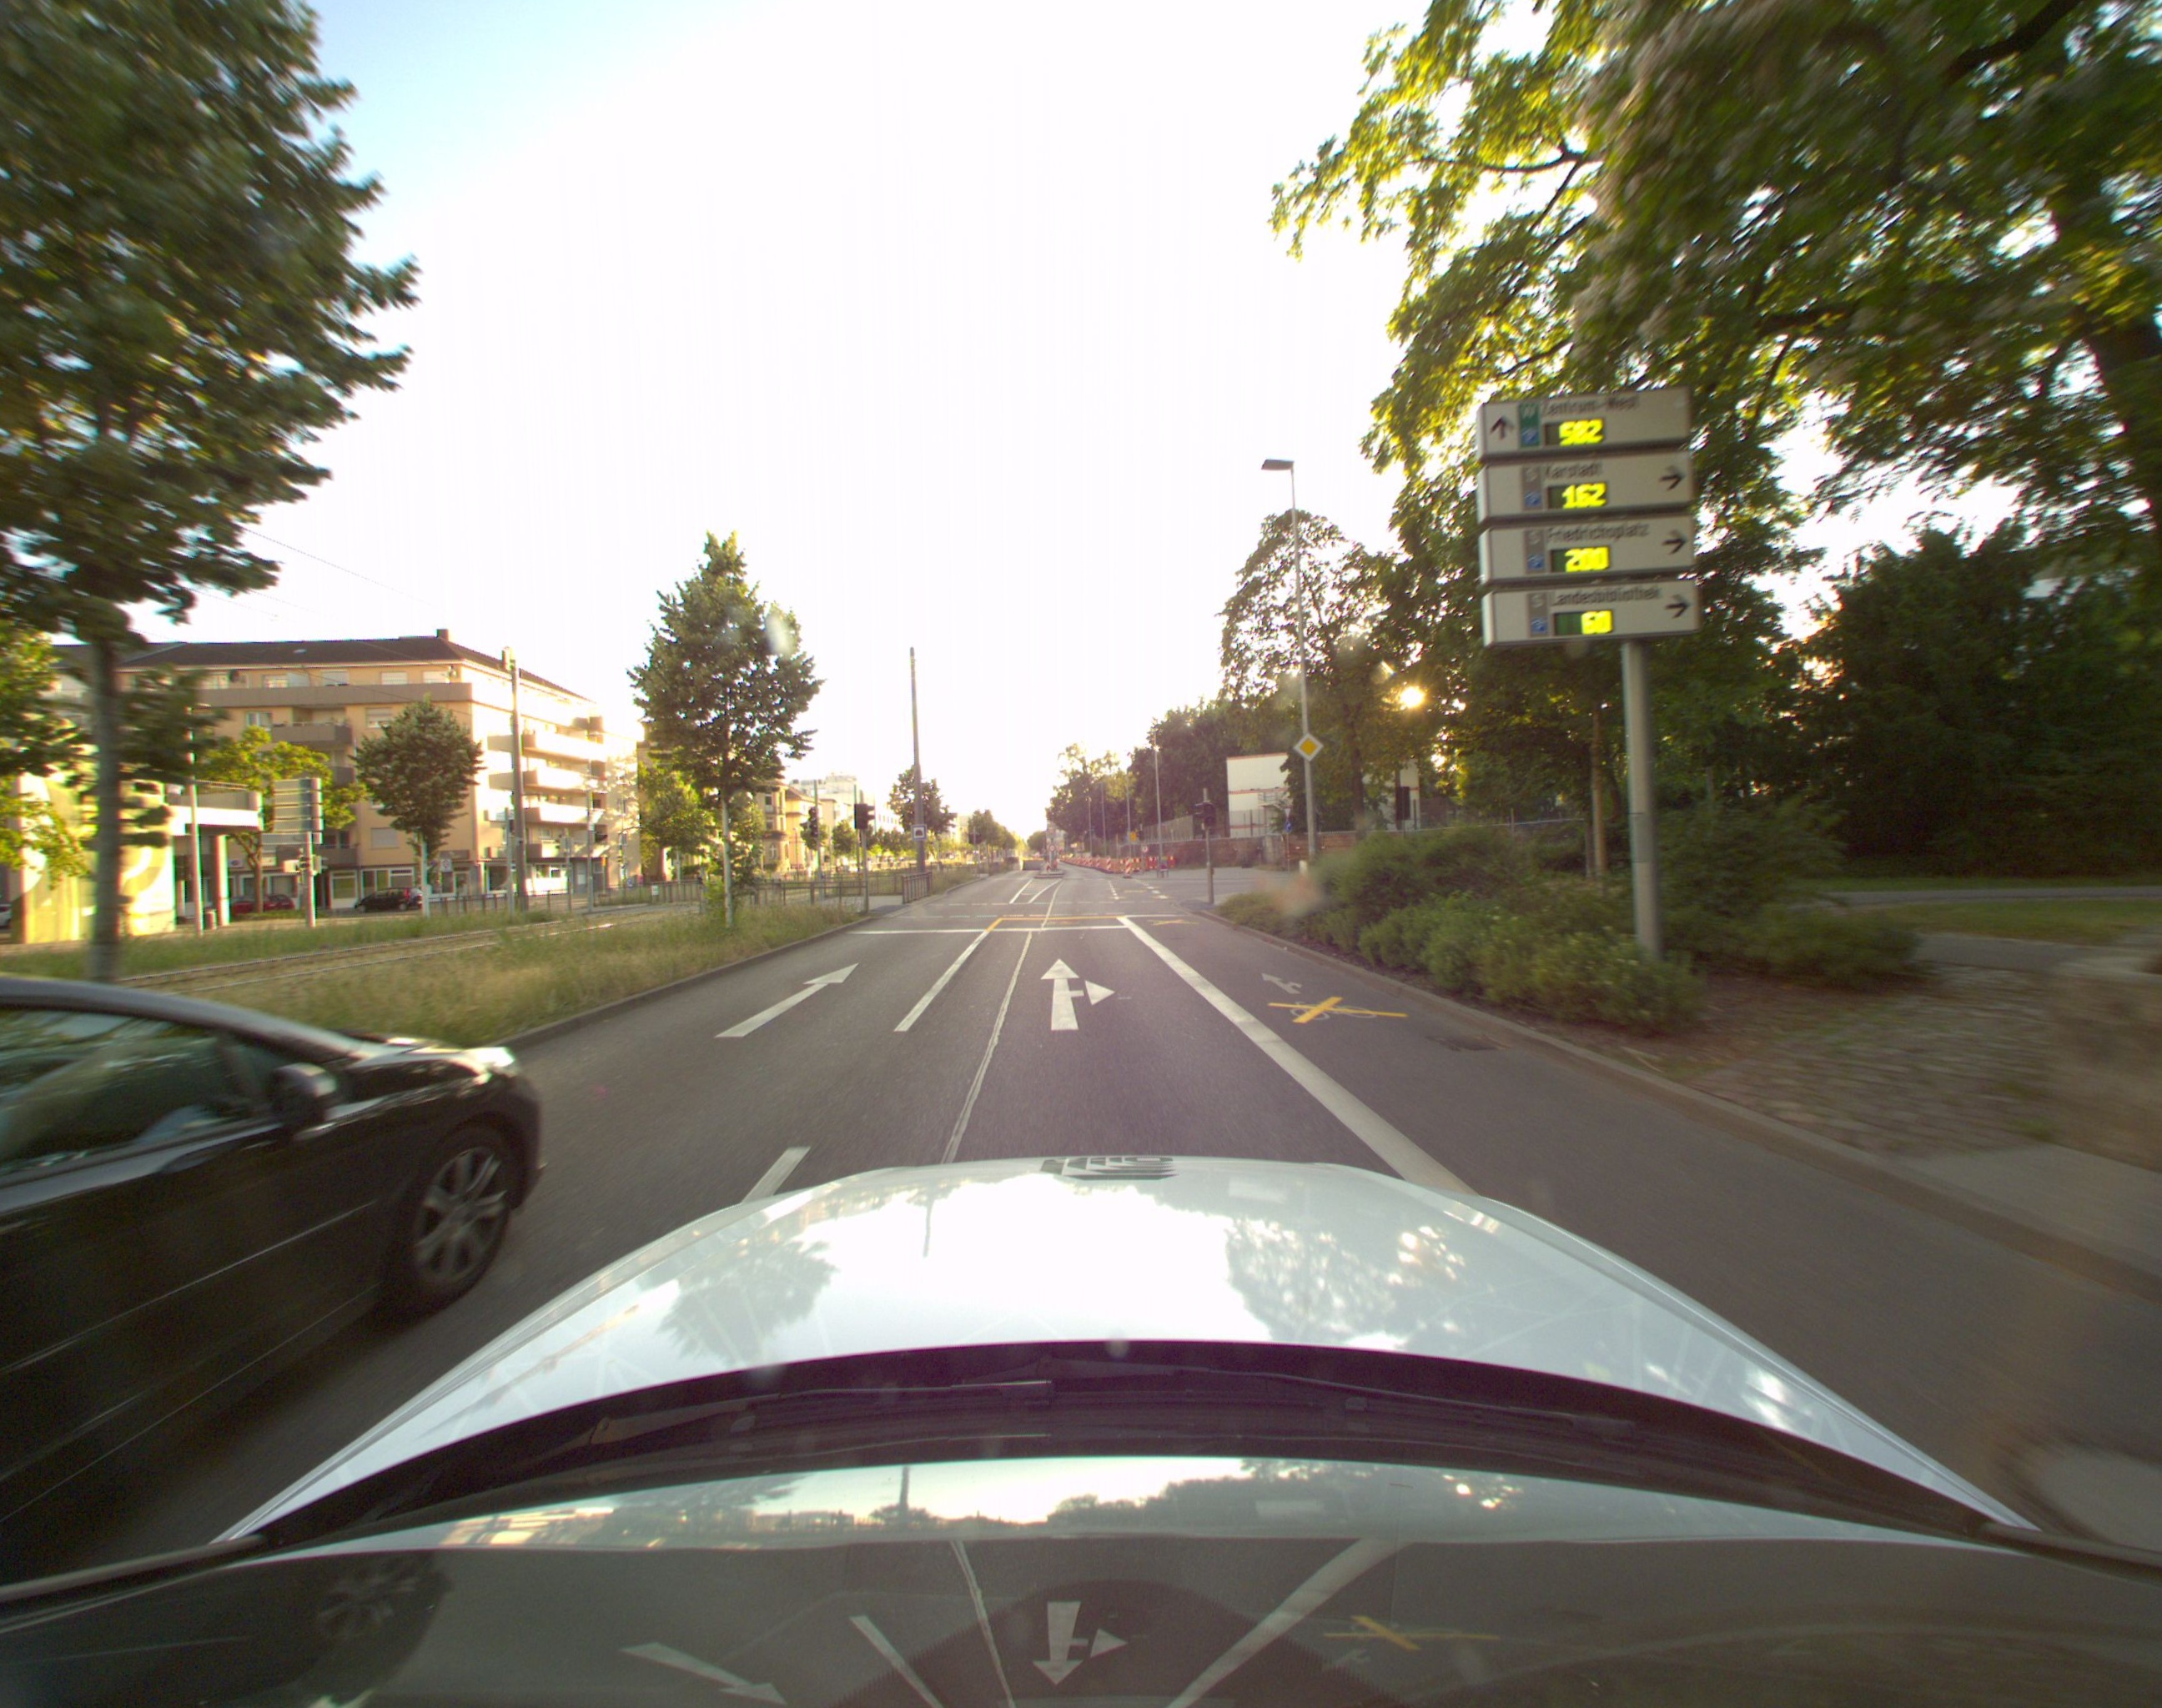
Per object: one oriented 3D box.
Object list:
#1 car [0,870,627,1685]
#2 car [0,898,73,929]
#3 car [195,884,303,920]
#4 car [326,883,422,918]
[{"bbox_3d":[-2.906,0.855,1.727,1.714,1.449,3.899,-2,1,-1],"label":"car"},{"bbox_3d":[-66.881,3.774,51.116,4.320,1.755,2.113,-2,0,-4],"label":"car"},{"bbox_3d":[-53.195,3.050,52.157,4.320,1.769,2.164,-5,2,-4],"label":"car"},{"bbox_3d":[-44.154,2.887,50.942,3.925,1.845,2.189,-3,0,-4],"label":"car"}]
